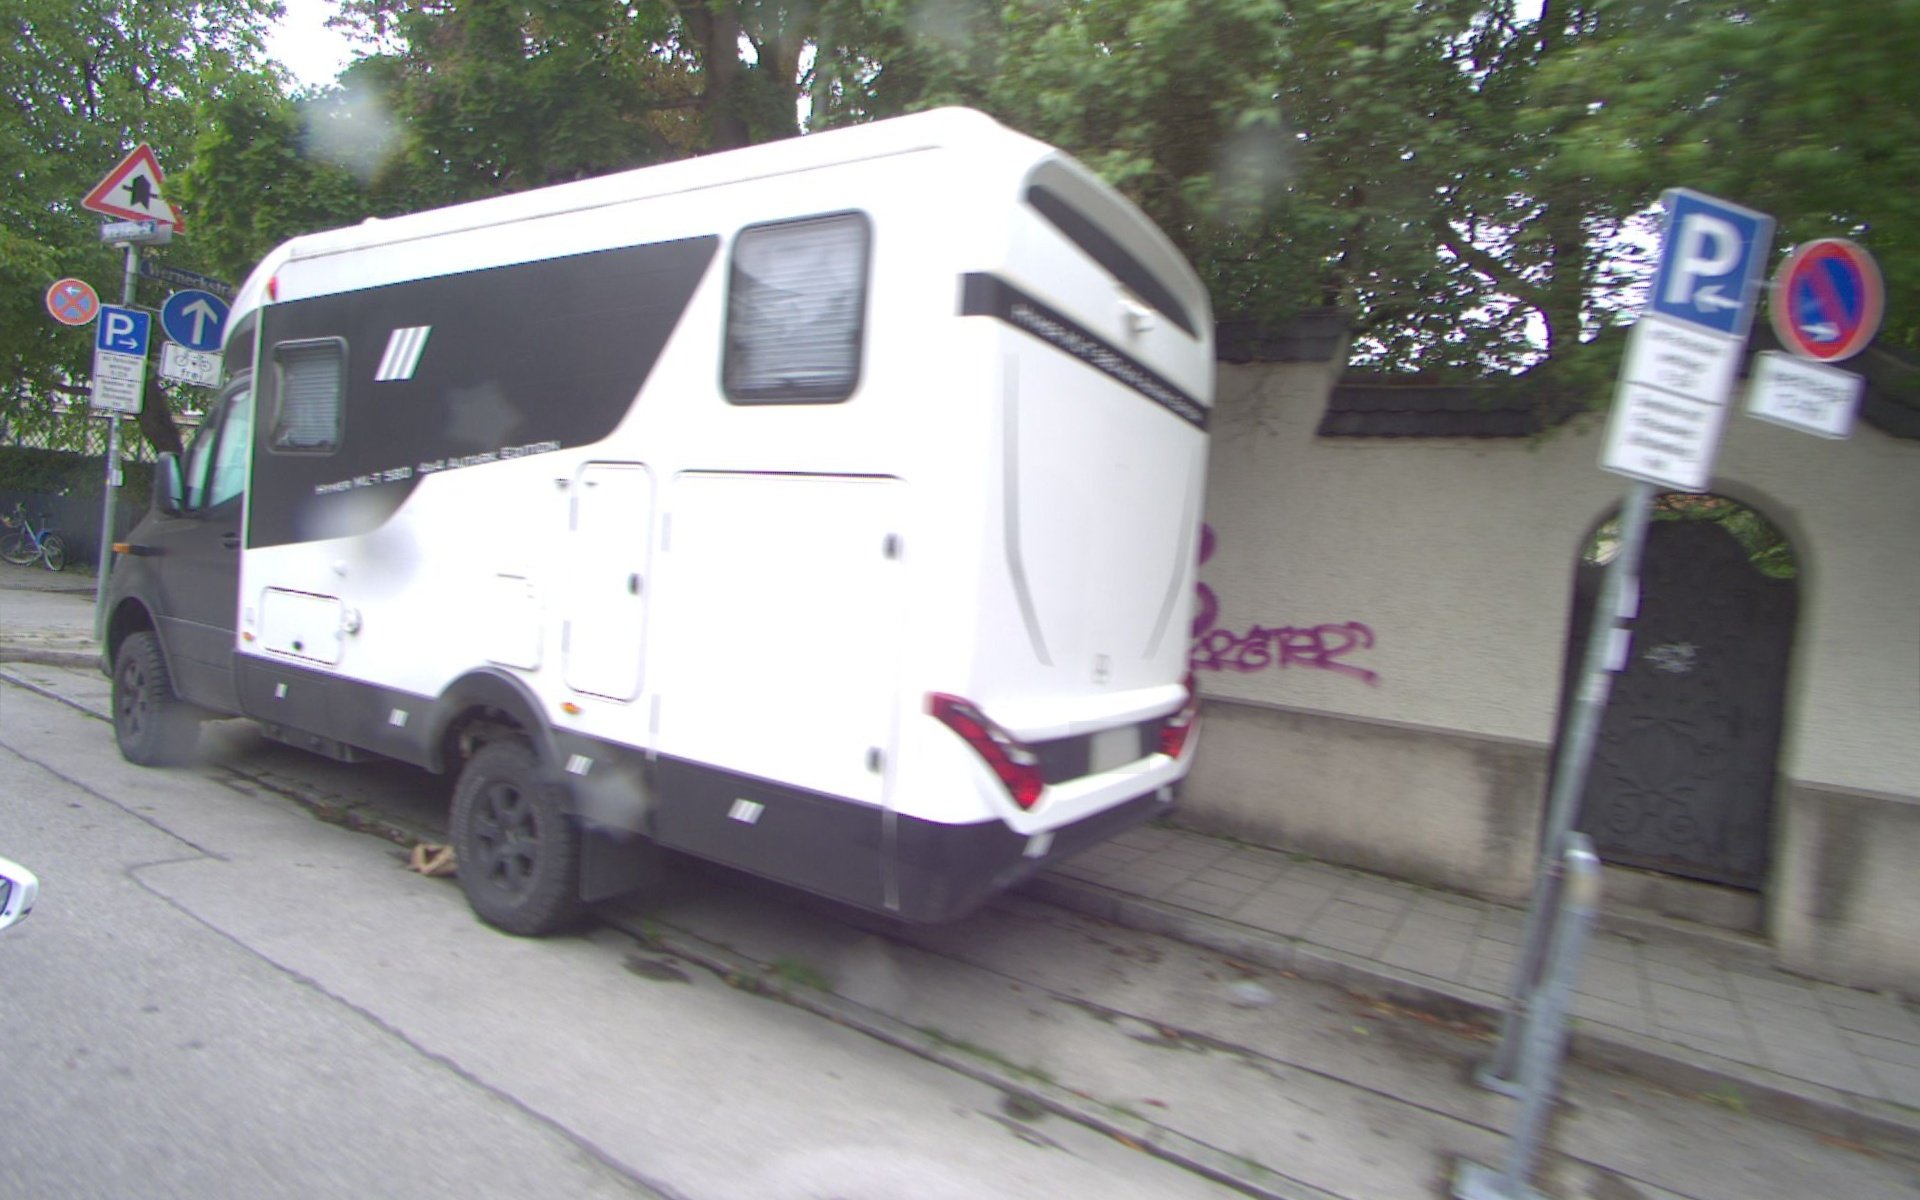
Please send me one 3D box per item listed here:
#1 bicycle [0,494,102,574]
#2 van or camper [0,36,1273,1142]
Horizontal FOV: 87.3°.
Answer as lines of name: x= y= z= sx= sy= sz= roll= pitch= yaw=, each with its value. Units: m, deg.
bicycle: x=-16.358 y=-1.187 z=17.882 sx=1.937 sy=1.176 sz=0.808 roll=7 pitch=1 yaw=22
van or camper: x=-2.353 y=-0.311 z=5.487 sx=7.154 sy=2.942 sz=2.275 roll=7 pitch=1 yaw=31
